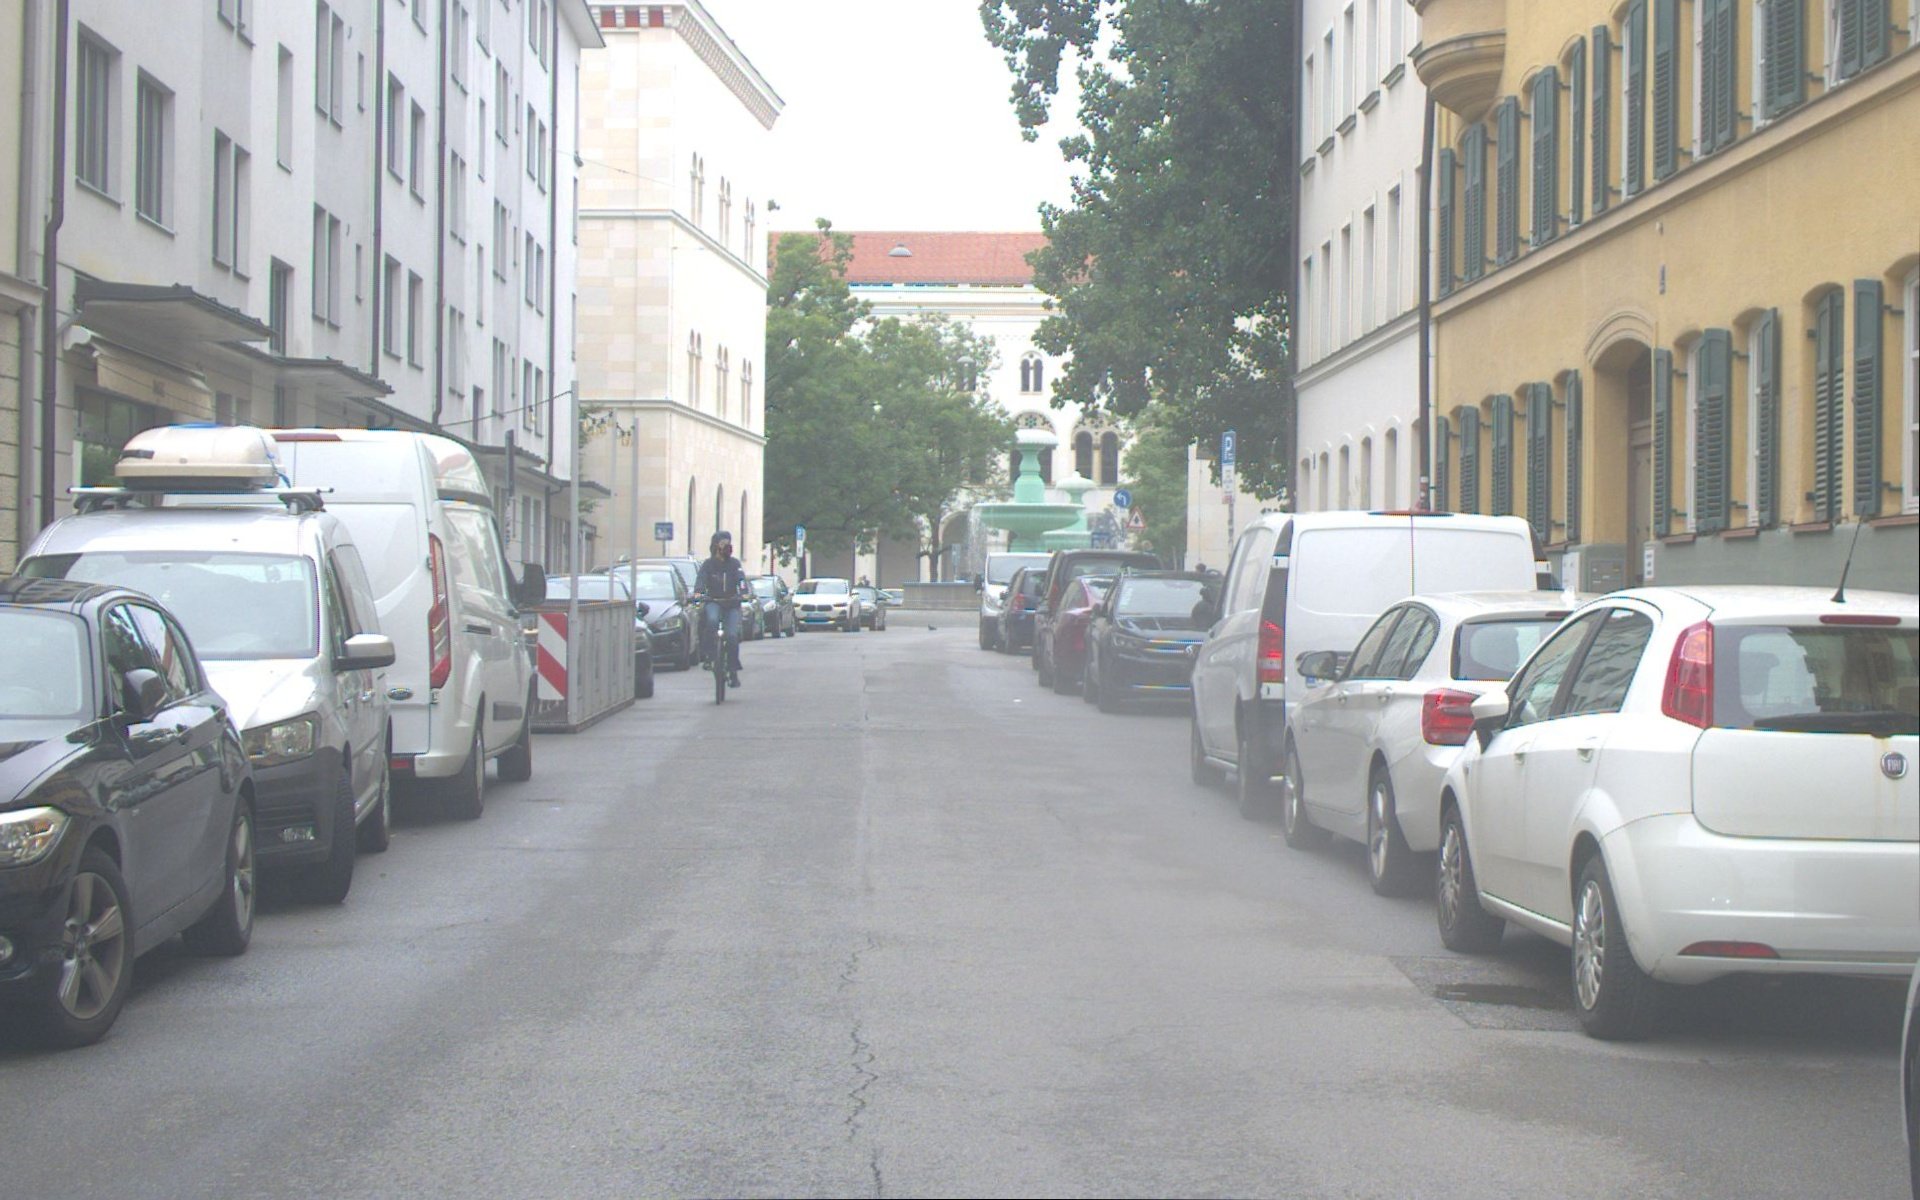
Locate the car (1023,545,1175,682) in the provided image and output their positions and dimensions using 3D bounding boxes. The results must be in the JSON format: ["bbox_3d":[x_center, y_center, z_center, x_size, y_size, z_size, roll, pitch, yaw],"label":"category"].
[{"bbox_3d":[1.939,0.187,49.102,1.846,1.770,4.201,3,0,-1],"label":"car"}]

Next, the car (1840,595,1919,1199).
[{"bbox_3d":[2.945,0.777,5.696,1.717,1.504,4.469,1,1,-1],"label":"car"}]

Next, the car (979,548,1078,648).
[{"bbox_3d":[1.373,-0.057,69.350,1.882,1.918,4.874,1,0,1],"label":"car"}]

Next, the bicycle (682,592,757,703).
[{"bbox_3d":[-2.620,0.506,37.567,0.732,1.147,2.000,1,0,-2],"label":"bicycle"}]

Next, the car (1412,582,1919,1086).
[{"bbox_3d":[2.765,0.710,12.381,1.623,1.504,3.762,1,1,-2],"label":"car"}]

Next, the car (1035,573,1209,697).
[{"bbox_3d":[1.945,0.396,42.399,1.713,1.419,4.458,1,0,-3],"label":"car"}]

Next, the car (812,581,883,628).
[{"bbox_3d":[-3.415,0.144,104.947,1.699,1.388,4.211,0,-1,4],"label":"car"}]

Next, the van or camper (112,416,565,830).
[{"bbox_3d":[-3.828,0.094,22.176,1.993,2.303,5.479,1,1,-1],"label":"van or camper"}]

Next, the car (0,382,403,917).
[{"bbox_3d":[-3.752,0.180,16.593,1.857,2.194,4.562,2,0,-7],"label":"car"}]

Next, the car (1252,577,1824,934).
[{"bbox_3d":[2.705,0.663,17.199,1.815,1.504,4.588,1,1,-3],"label":"car"}]

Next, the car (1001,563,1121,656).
[{"bbox_3d":[1.827,0.148,63.361,1.807,1.595,4.215,2,0,-3],"label":"car"}]

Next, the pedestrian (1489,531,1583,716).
[{"bbox_3d":[5.216,0.201,31.171,0.596,1.633,0.896,-2,1,-3],"label":"pedestrian"}]

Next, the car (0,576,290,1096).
[{"bbox_3d":[-3.527,0.632,11.646,1.857,1.397,4.270,2,1,-3],"label":"car"}]

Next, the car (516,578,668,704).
[{"bbox_3d":[-4.347,0.438,40.231,1.638,1.350,4.060,0,1,-8],"label":"car"}]

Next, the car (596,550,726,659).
[{"bbox_3d":[-4.835,0.039,56.099,1.872,1.682,4.521,0,1,-2],"label":"car"}]

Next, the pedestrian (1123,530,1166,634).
[{"bbox_3d":[3.957,-0.389,73.659,0.793,2.190,0.814,2,0,-2],"label":"pedestrian"}]

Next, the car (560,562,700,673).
[{"bbox_3d":[-4.802,0.218,50.446,1.773,1.534,4.159,0,1,-2],"label":"car"}]

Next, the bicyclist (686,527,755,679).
[{"bbox_3d":[-2.623,0.031,37.661,0.686,1.622,0.853,2,0,-2],"label":"bicyclist"}]

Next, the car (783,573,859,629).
[{"bbox_3d":[-3.953,0.045,98.558,1.778,1.529,4.211,0,-1,3],"label":"car"}]

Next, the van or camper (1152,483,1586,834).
[{"bbox_3d":[2.517,0.309,22.530,1.993,2.007,5.233,1,1,-2],"label":"van or camper"}]

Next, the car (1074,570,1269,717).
[{"bbox_3d":[2.219,0.430,36.999,1.745,1.459,4.000,1,1,-1],"label":"car"}]
